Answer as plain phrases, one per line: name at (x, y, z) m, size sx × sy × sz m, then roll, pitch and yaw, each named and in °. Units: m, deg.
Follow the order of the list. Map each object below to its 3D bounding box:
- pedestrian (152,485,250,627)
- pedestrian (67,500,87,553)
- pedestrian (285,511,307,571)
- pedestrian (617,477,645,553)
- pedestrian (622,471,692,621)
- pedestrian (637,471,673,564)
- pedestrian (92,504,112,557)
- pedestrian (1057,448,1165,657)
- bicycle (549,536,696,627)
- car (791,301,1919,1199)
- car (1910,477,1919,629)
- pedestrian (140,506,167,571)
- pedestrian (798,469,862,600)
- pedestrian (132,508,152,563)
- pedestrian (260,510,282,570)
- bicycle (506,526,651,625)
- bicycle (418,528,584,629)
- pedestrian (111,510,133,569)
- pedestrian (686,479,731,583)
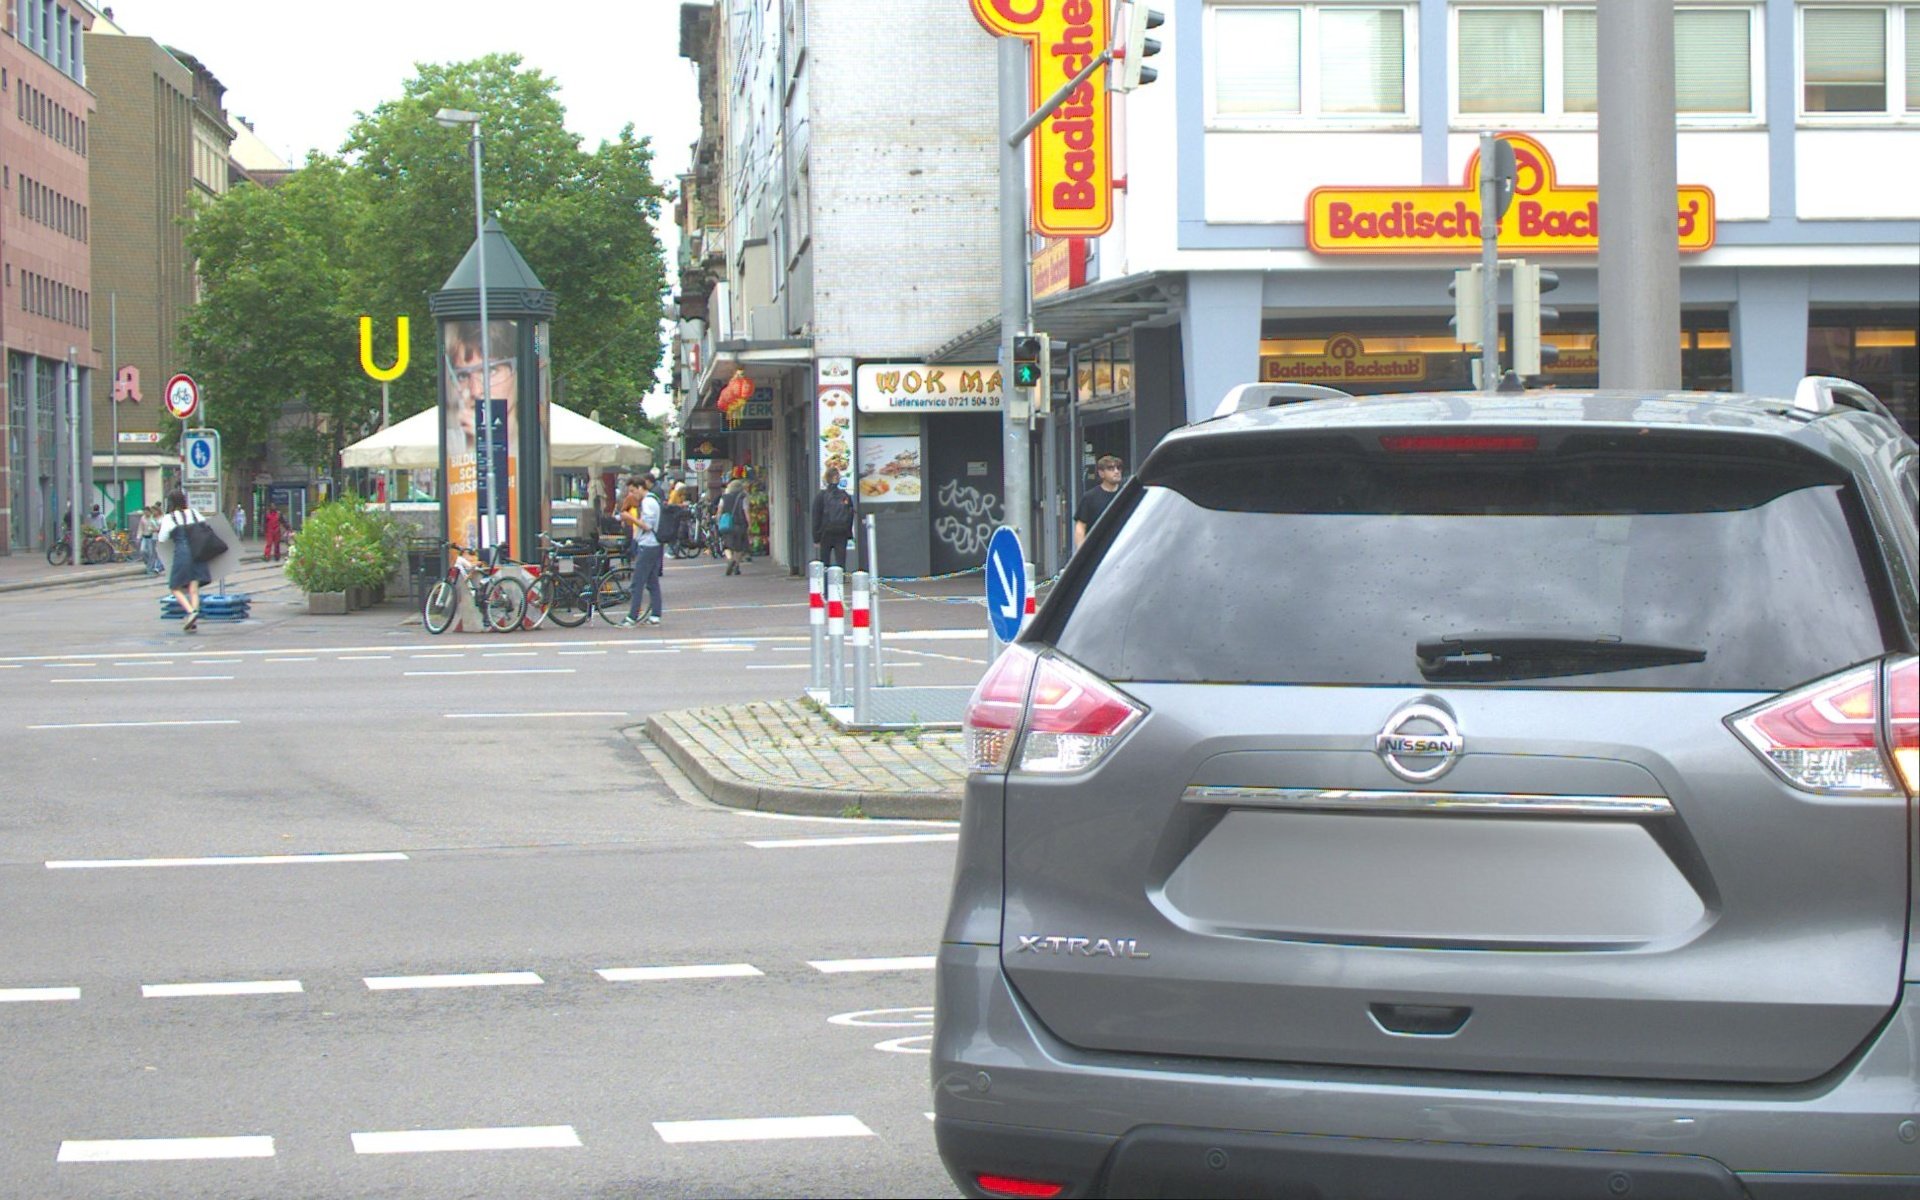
pedestrian at (-9.209, -0.540, 41.718) m, size 0.926 × 1.699 × 0.734 m, roll 1°, pitch 2°, yaw 15°
pedestrian at (-28.540, -2.367, 111.117) m, size 0.600 × 1.708 × 0.656 m, roll 0°, pitch 2°, yaw -12°
pedestrian at (-19.221, -1.713, 99.537) m, size 0.600 × 1.708 × 0.656 m, roll 0°, pitch 2°, yaw -12°
pedestrian at (-7.401, -1.904, 77.295) m, size 0.611 × 1.699 × 0.620 m, roll 0°, pitch 2°, yaw -4°
pedestrian at (-3.555, -0.637, 40.352) m, size 0.732 × 1.739 × 0.663 m, roll 0°, pitch 2°, yaw -13°
pedestrian at (-5.615, -1.525, 63.229) m, size 0.643 × 1.699 × 0.559 m, roll 0°, pitch 2°, yaw -4°
pedestrian at (-27.773, -2.258, 111.266) m, size 0.600 × 1.708 × 0.656 m, roll 0°, pitch 2°, yaw -12°
pedestrian at (1.336, -0.427, 30.552) m, size 0.712 × 1.826 × 1.017 m, roll 0°, pitch 2°, yaw -13°
bicycle at (-3.995, -0.221, 40.718) m, size 1.696 × 1.062 × 0.437 m, roll 0°, pitch 2°, yaw 2°
car at (1.346, 0.423, 7.050) m, size 1.865 × 1.768 × 4.563 m, roll 1°, pitch 1°, yaw 18°
car at (11.703, -0.505, 33.159) m, size 4.551 × 1.476 × 1.749 m, roll -2°, pitch 1°, yaw -7°
pedestrian at (-19.243, -1.470, 82.039) m, size 0.600 × 1.531 × 0.656 m, roll 0°, pitch 2°, yaw -12°
pedestrian at (-1.695, -0.859, 44.810) m, size 0.710 × 1.699 × 0.734 m, roll 1°, pitch 2°, yaw 7°
pedestrian at (-25.777, -2.037, 108.332) m, size 0.600 × 1.708 × 0.656 m, roll 0°, pitch 2°, yaw -12°
pedestrian at (-19.914, -1.740, 99.386) m, size 0.600 × 1.708 × 0.656 m, roll 0°, pitch 2°, yaw -12°
bicycle at (-4.579, -0.295, 41.291) m, size 1.695 × 1.167 × 0.437 m, roll 0°, pitch 2°, yaw -12°
bicycle at (-5.409, -0.254, 40.480) m, size 1.867 × 1.167 × 0.531 m, roll 0°, pitch 2°, yaw -19°
pedestrian at (-24.403, -1.762, 100.101) m, size 0.600 × 1.708 × 0.656 m, roll 0°, pitch 2°, yaw -12°
pedestrian at (-4.424, -1.222, 60.482) m, size 0.737 × 1.815 × 0.662 m, roll -1°, pitch 2°, yaw -7°
